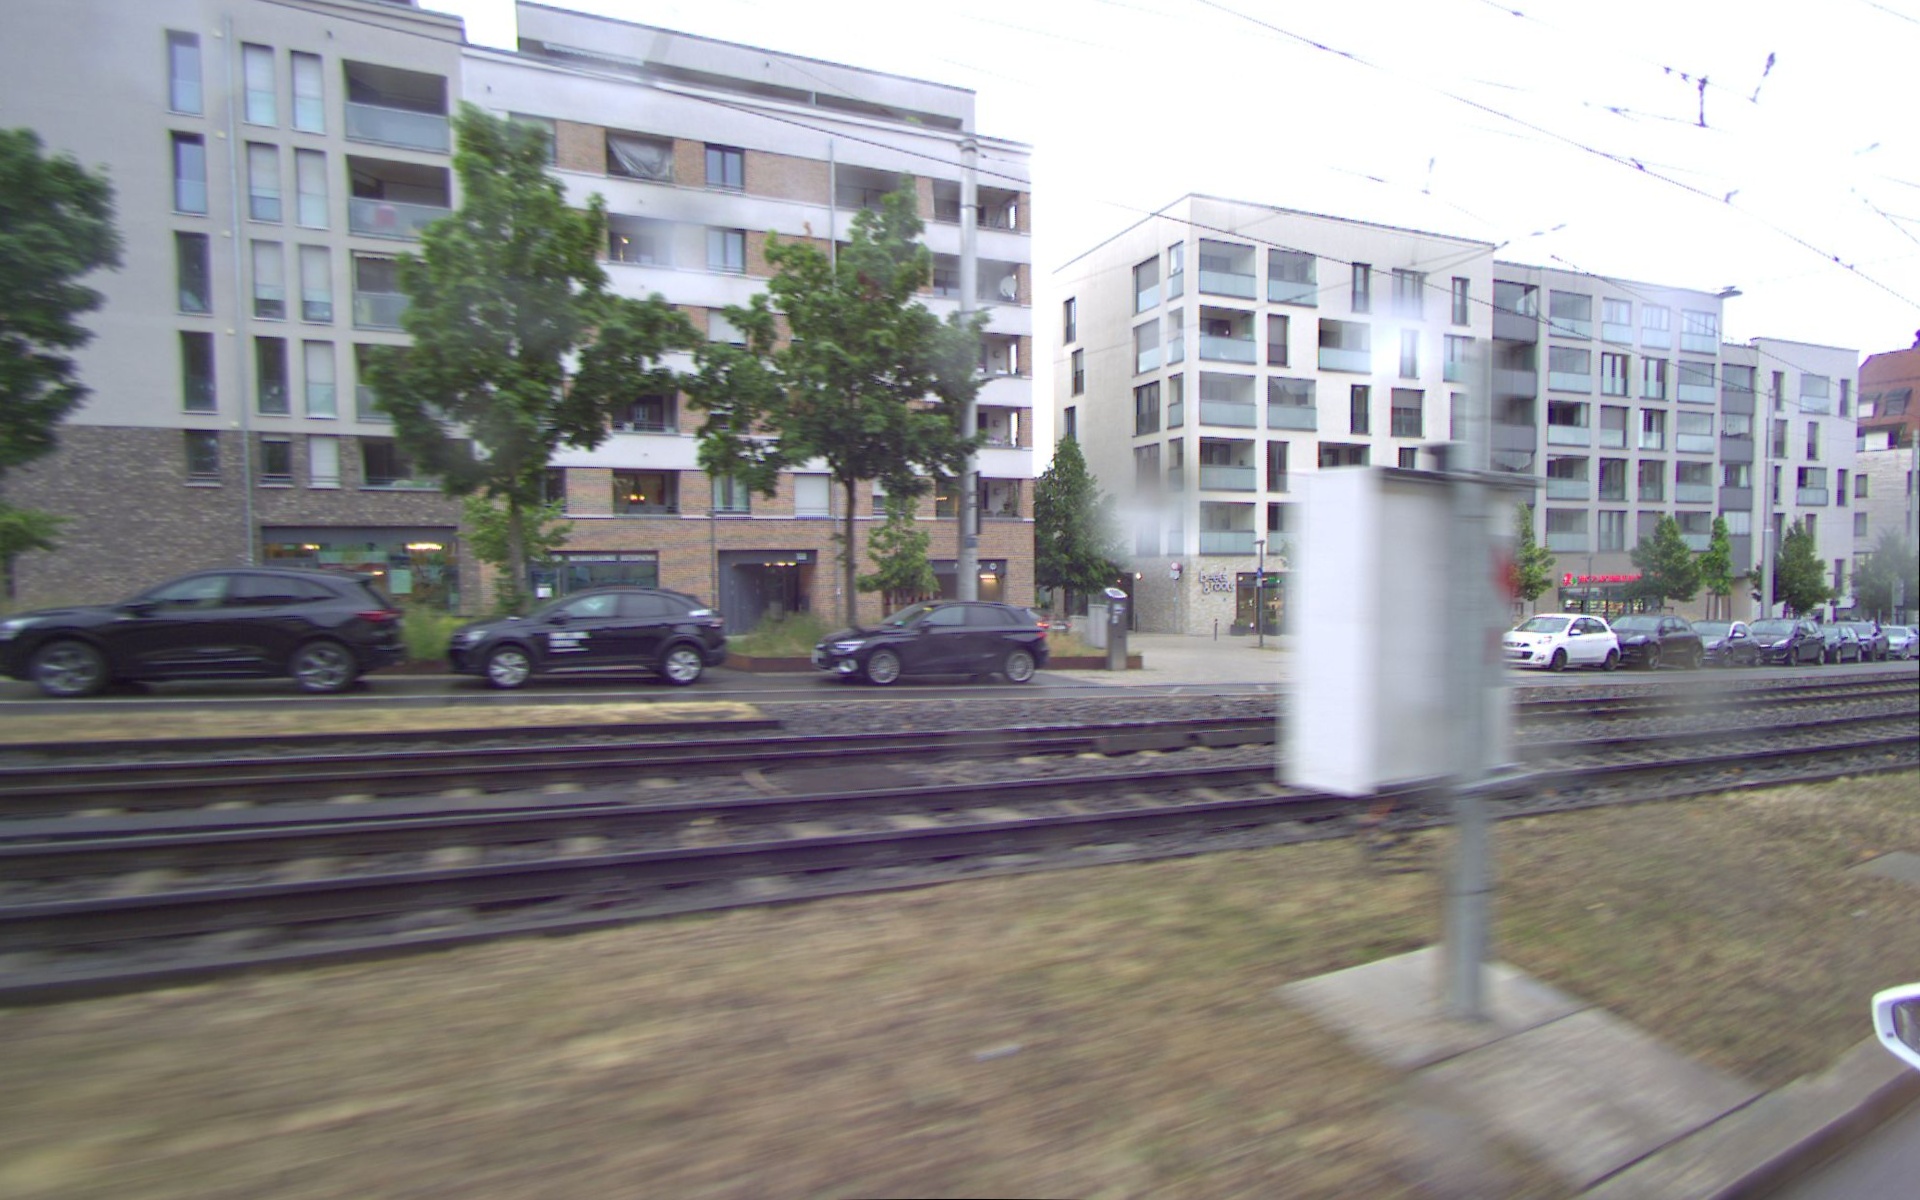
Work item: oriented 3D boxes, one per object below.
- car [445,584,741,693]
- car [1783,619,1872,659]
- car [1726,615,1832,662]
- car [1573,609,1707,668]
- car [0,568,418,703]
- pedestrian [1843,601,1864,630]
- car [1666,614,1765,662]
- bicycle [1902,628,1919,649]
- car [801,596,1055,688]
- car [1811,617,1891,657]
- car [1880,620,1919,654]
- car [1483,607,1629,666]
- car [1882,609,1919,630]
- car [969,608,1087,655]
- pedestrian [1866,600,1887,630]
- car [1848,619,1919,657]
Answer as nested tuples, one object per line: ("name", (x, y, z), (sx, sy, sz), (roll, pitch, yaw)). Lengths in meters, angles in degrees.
("car", (-5.789, 0.572, 15.954), (4.203, 1.509, 1.730), (1, 1, -27))
("car", (33.165, 1.469, 38.382), (3.967, 1.380, 1.539), (1, 1, -33))
("car", (28.766, 1.337, 35.251), (4.272, 1.533, 1.709), (1, 0, -33))
("car", (20.193, 1.113, 29.762), (4.359, 1.582, 1.755), (1, 0, -33))
("car", (-10.088, 0.443, 13.604), (4.631, 1.605, 1.799), (1, 1, -23))
("pedestrian", (63.166, 1.101, 71.024), (0.758, 2.041, 0.934), (1, 1, -37))
("car", (24.609, 1.228, 32.697), (3.414, 1.454, 1.540), (1, 0, -33))
("bicycle", (50.376, 2.041, 52.352), (1.776, 1.078, 0.455), (3, 2, 42))
("car", (-0.575, 0.726, 18.113), (4.143, 1.450, 1.960), (1, 1, -25))
("car", (36.505, 1.486, 41.129), (3.886, 1.524, 1.759), (1, 0, -38))
("car", (45.832, 1.772, 48.106), (4.198, 1.524, 1.897), (1, 0, -38))
("car", (16.397, 0.996, 27.643), (3.686, 1.499, 1.759), (1, 0, -27))
("car", (72.824, 1.500, 76.033), (1.798, 1.589, 4.121), (1, 1, -24))
("car", (2.149, 0.994, 32.843), (1.746, 1.454, 3.960), (1, -1, -35))
("pedestrian", (63.662, 1.047, 69.791), (0.758, 2.041, 0.934), (1, 1, -37))
("car", (40.532, 1.640, 43.937), (4.046, 1.524, 1.759), (1, 0, -38))
